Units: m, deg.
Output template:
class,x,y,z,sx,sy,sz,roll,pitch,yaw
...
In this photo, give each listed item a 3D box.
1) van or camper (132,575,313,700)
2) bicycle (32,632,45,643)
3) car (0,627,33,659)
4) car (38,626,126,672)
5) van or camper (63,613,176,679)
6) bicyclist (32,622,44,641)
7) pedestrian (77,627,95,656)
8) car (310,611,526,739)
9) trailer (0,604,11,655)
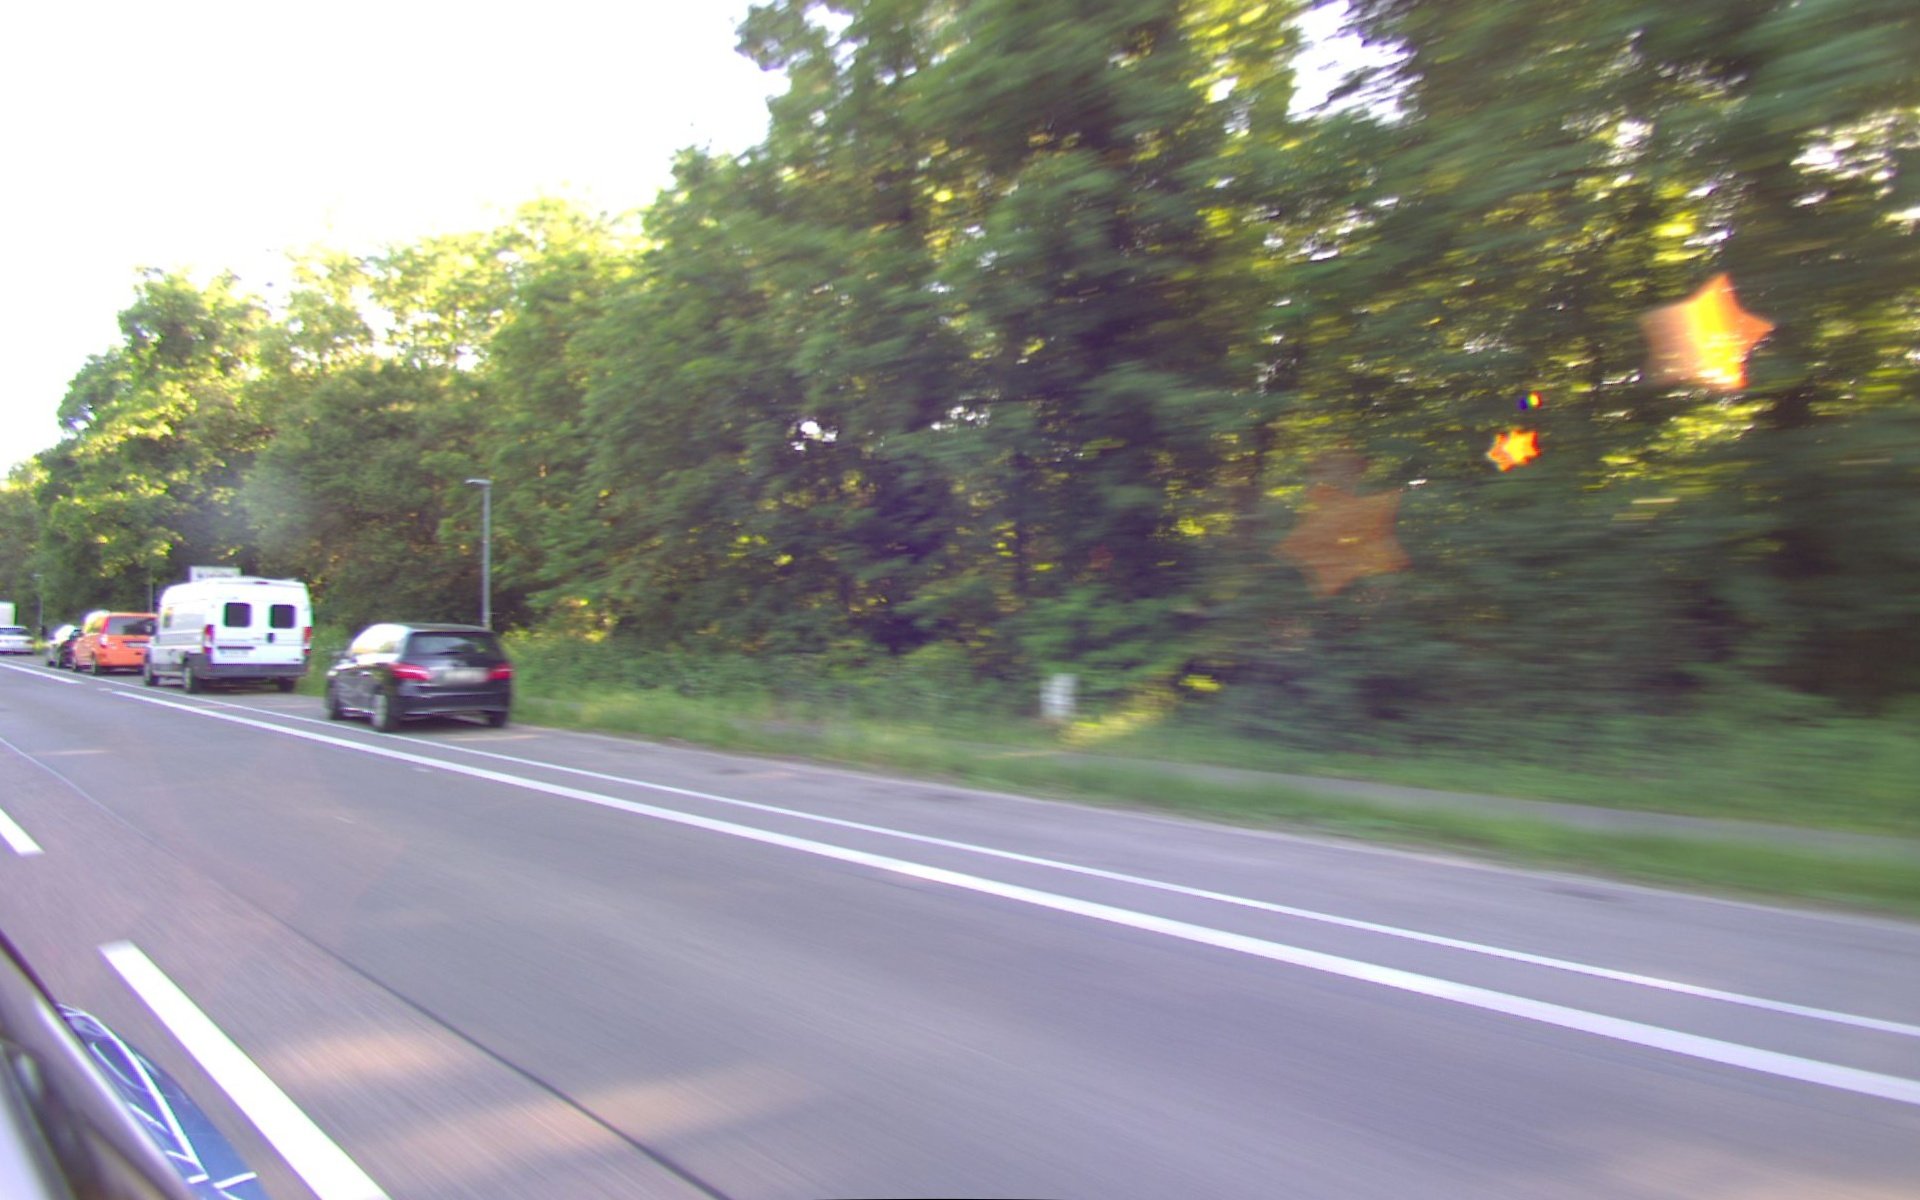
class,x,y,z,sx,sy,sz,roll,pitch,yaw
van or camper,-17.659,0.859,24.063,6.539,2.592,2.098,-1,-2,42
bicycle,-62.531,2.549,68.648,1.486,0.718,0.516,-1,-1,41
car,-46.178,2.060,48.723,4.623,1.465,1.778,-1,-3,42
car,-30.343,1.657,34.925,4.322,1.489,1.713,-1,-3,42
van or camper,-25.900,1.379,31.125,4.861,1.881,1.902,-1,-3,42
bicyclist,-62.506,2.137,68.630,0.973,1.244,0.482,-1,-1,41
pedestrian,-49.623,2.356,57.464,0.700,1.579,0.706,-1,-1,41
car,-8.502,1.067,15.685,1.760,1.697,4.381,3,-3,-44
trailer,-51.366,1.512,52.984,4.414,2.617,1.972,-1,-4,41
